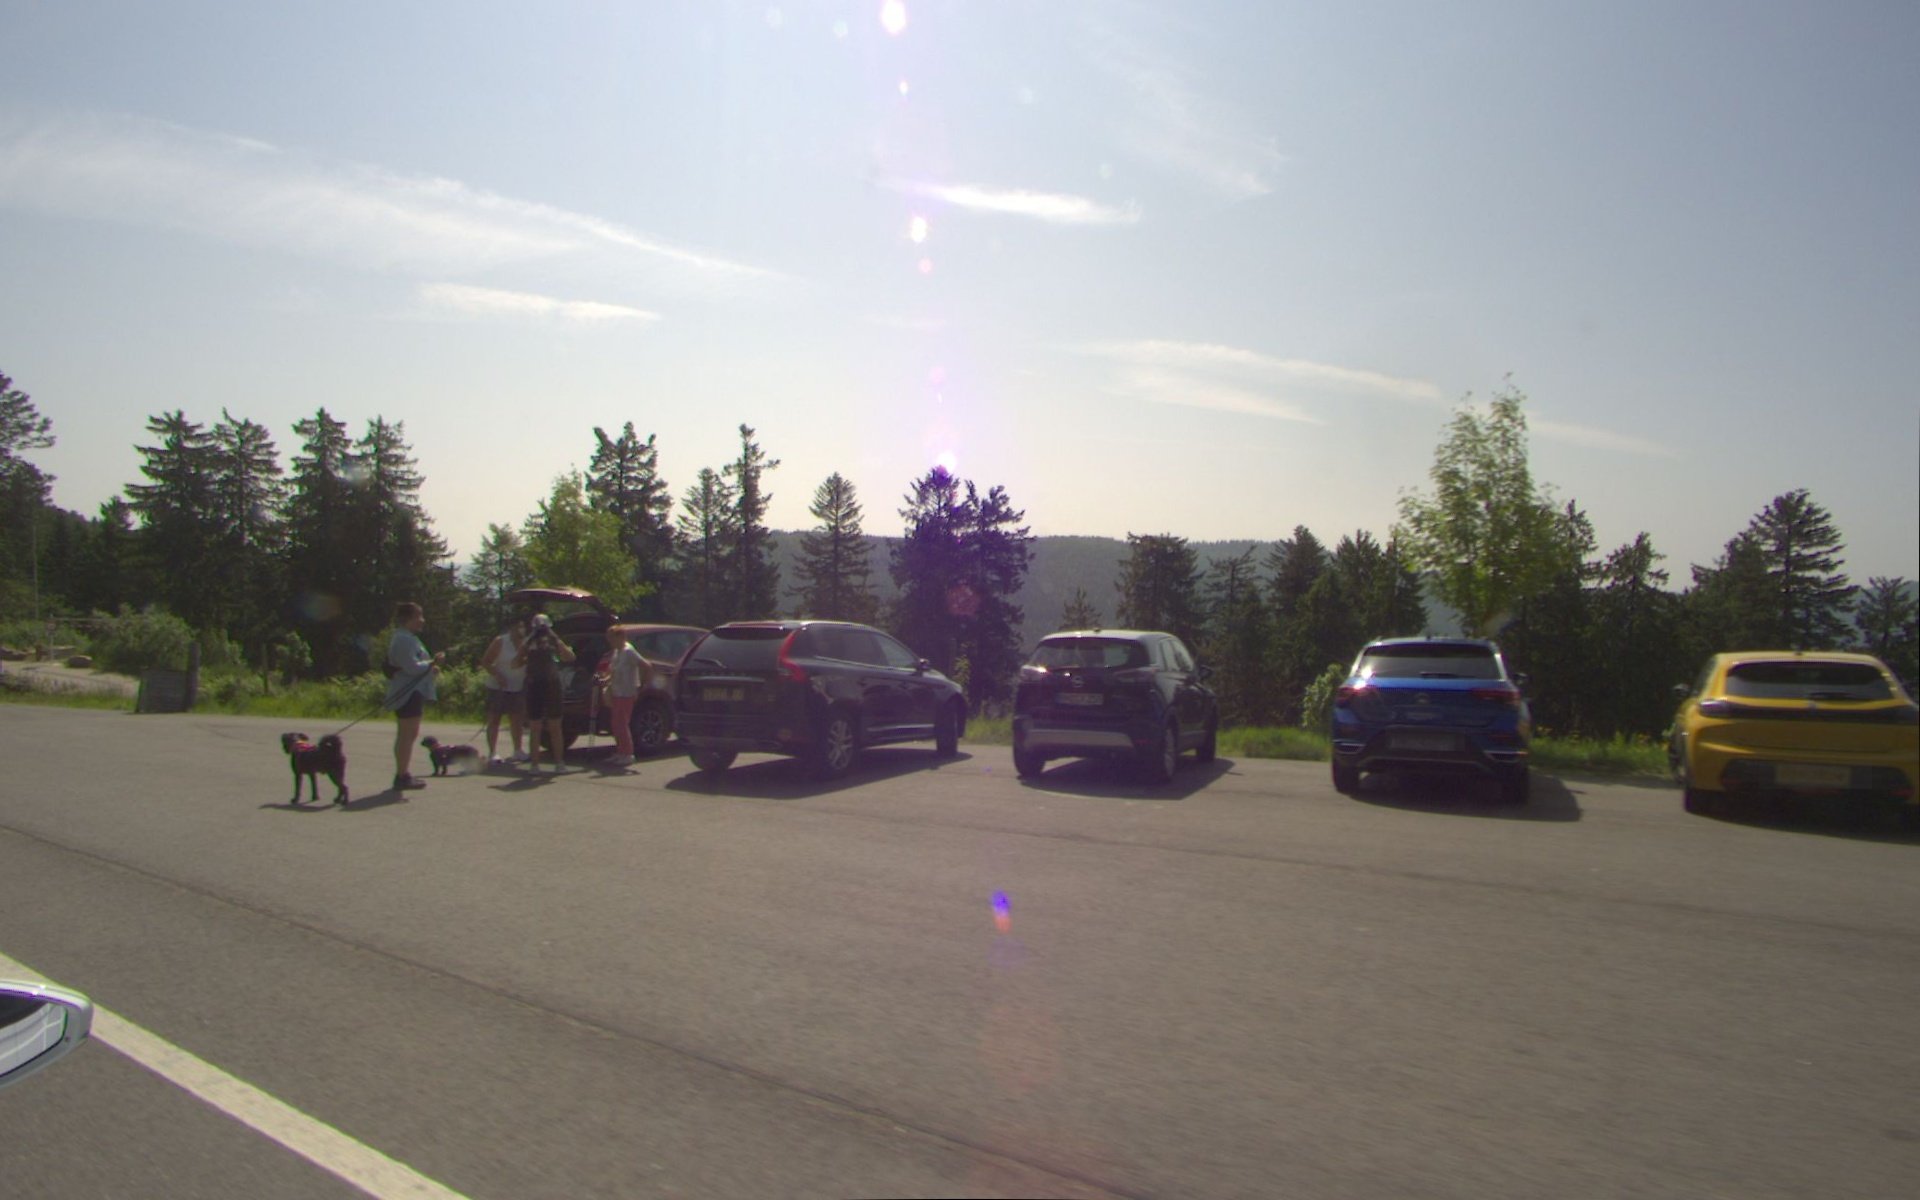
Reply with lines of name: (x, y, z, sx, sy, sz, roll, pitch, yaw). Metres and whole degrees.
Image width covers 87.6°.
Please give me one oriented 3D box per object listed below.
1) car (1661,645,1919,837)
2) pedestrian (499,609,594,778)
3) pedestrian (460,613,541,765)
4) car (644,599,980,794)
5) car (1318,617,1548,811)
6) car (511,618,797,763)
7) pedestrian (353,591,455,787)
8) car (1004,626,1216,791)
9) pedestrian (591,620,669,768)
car: (7.888, 1.155, 9.562, 1.960, 1.370, 3.976, 0, -2, 35)
pedestrian: (-4.386, 0.957, 10.635, 0.611, 1.714, 0.714, 0, -1, 36)
pedestrian: (-5.365, 1.002, 11.687, 0.680, 1.683, 0.649, 2, 2, 42)
car: (-1.518, 0.982, 11.963, 1.861, 1.817, 4.264, 2, 0, 26)
car: (5.058, 1.041, 10.819, 1.777, 1.556, 3.988, 4, 0, 25)
car: (-3.999, 1.155, 13.748, 1.626, 1.681, 3.820, 0, -3, 24)
pedestrian: (-5.354, 0.823, 9.651, 0.714, 1.798, 0.615, 0, -1, 36)
car: (1.914, 1.105, 11.756, 1.573, 1.587, 3.755, 0, -1, 23)
pedestrian: (-3.807, 1.054, 11.546, 0.612, 1.609, 0.728, 0, 2, -41)
